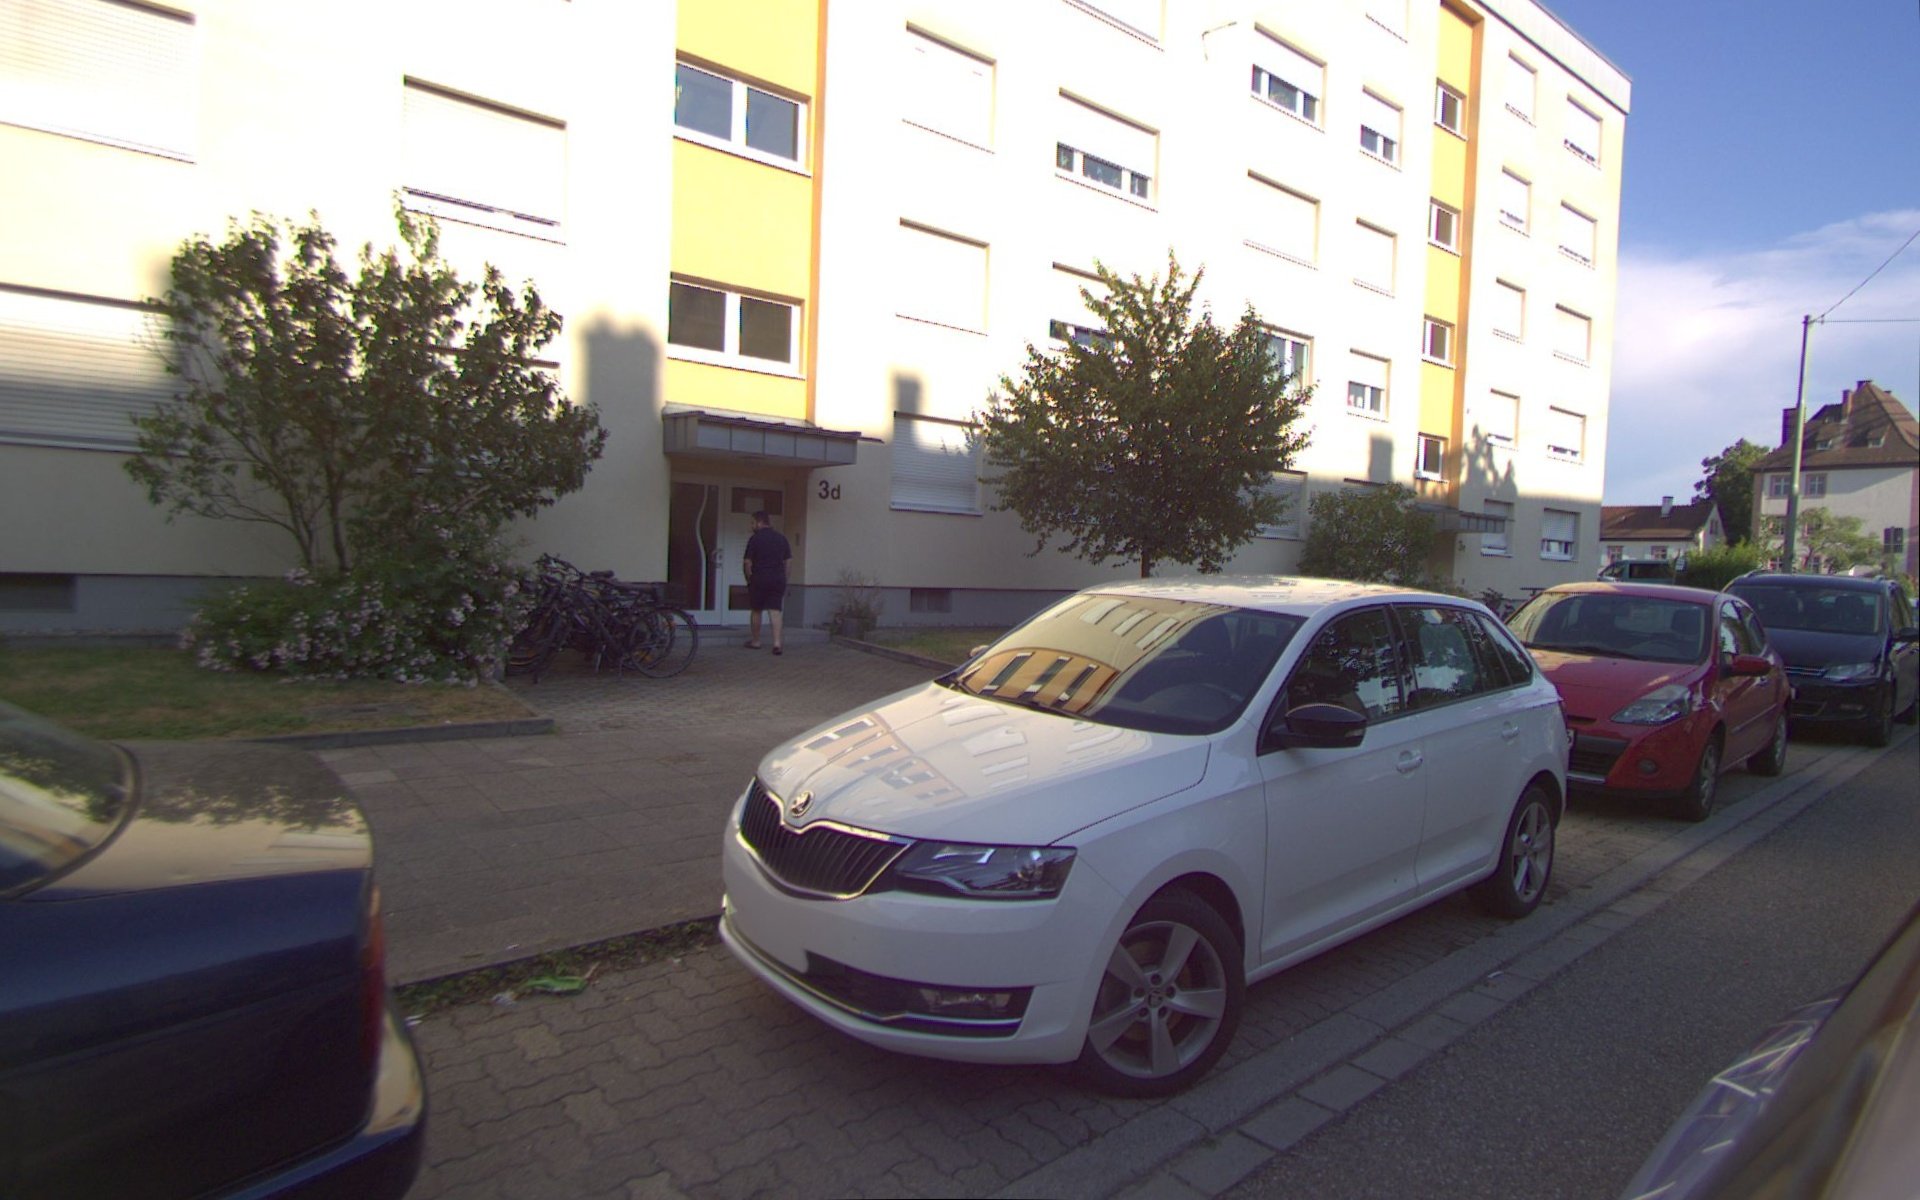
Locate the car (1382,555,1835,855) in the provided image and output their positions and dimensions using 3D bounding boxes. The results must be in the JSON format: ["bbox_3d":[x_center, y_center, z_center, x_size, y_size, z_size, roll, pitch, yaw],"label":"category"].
[{"bbox_3d":[5.112,0.548,7.791,3.930,1.635,1.776,-1,6,-41],"label":"car"}]

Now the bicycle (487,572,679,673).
[{"bbox_3d":[-3.769,0.195,10.209,1.757,0.954,0.439,-1,0,-35],"label":"bicycle"}]

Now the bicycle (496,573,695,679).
[{"bbox_3d":[-3.508,0.223,9.818,1.757,0.954,0.439,-1,0,-35],"label":"bicycle"}]

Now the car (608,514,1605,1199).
[{"bbox_3d":[0.860,0.516,4.107,3.930,1.470,1.777,-1,8,-41],"label":"car"}]

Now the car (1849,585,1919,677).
[{"bbox_3d":[18.237,0.515,19.023,4.543,1.525,1.801,-1,2,-42],"label":"car"}]

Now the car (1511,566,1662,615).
[{"bbox_3d":[23.529,-0.416,38.170,1.700,1.621,4.491,-1,3,-37],"label":"car"}]

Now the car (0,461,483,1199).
[{"bbox_3d":[-2.858,0.593,0.774,4.238,1.456,1.664,-1,1,-41],"label":"car"}]

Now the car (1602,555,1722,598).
[{"bbox_3d":[31.202,-1.029,45.069,1.964,1.816,3.995,-1,1,-39],"label":"car"}]

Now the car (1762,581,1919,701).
[{"bbox_3d":[13.422,0.504,14.872,3.929,1.527,1.775,-1,1,-39],"label":"car"}]

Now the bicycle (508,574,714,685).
[{"bbox_3d":[-3.220,0.239,9.422,1.757,0.954,0.439,-1,0,-35],"label":"bicycle"}]

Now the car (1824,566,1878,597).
[{"bbox_3d":[50.887,-1.051,57.786,3.928,1.683,1.657,-1,1,-38],"label":"car"}]

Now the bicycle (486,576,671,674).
[{"bbox_3d":[-3.983,0.234,10.640,1.757,0.954,0.439,-1,0,-35],"label":"bicycle"}]

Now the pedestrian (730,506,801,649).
[{"bbox_3d":[-2.375,-0.289,12.324,0.527,1.678,0.768,-1,4,-40],"label":"pedestrian"}]

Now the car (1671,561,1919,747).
[{"bbox_3d":[9.779,0.454,11.443,4.565,1.699,1.775,-1,1,-41],"label":"car"}]

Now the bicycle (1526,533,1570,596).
[{"bbox_3d":[11.849,-0.714,20.371,1.220,1.205,0.334,-1,7,-44],"label":"bicycle"}]

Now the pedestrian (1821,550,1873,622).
[{"bbox_3d":[24.125,-0.390,27.525,1.257,1.914,0.890,-1,0,-40],"label":"pedestrian"}]
